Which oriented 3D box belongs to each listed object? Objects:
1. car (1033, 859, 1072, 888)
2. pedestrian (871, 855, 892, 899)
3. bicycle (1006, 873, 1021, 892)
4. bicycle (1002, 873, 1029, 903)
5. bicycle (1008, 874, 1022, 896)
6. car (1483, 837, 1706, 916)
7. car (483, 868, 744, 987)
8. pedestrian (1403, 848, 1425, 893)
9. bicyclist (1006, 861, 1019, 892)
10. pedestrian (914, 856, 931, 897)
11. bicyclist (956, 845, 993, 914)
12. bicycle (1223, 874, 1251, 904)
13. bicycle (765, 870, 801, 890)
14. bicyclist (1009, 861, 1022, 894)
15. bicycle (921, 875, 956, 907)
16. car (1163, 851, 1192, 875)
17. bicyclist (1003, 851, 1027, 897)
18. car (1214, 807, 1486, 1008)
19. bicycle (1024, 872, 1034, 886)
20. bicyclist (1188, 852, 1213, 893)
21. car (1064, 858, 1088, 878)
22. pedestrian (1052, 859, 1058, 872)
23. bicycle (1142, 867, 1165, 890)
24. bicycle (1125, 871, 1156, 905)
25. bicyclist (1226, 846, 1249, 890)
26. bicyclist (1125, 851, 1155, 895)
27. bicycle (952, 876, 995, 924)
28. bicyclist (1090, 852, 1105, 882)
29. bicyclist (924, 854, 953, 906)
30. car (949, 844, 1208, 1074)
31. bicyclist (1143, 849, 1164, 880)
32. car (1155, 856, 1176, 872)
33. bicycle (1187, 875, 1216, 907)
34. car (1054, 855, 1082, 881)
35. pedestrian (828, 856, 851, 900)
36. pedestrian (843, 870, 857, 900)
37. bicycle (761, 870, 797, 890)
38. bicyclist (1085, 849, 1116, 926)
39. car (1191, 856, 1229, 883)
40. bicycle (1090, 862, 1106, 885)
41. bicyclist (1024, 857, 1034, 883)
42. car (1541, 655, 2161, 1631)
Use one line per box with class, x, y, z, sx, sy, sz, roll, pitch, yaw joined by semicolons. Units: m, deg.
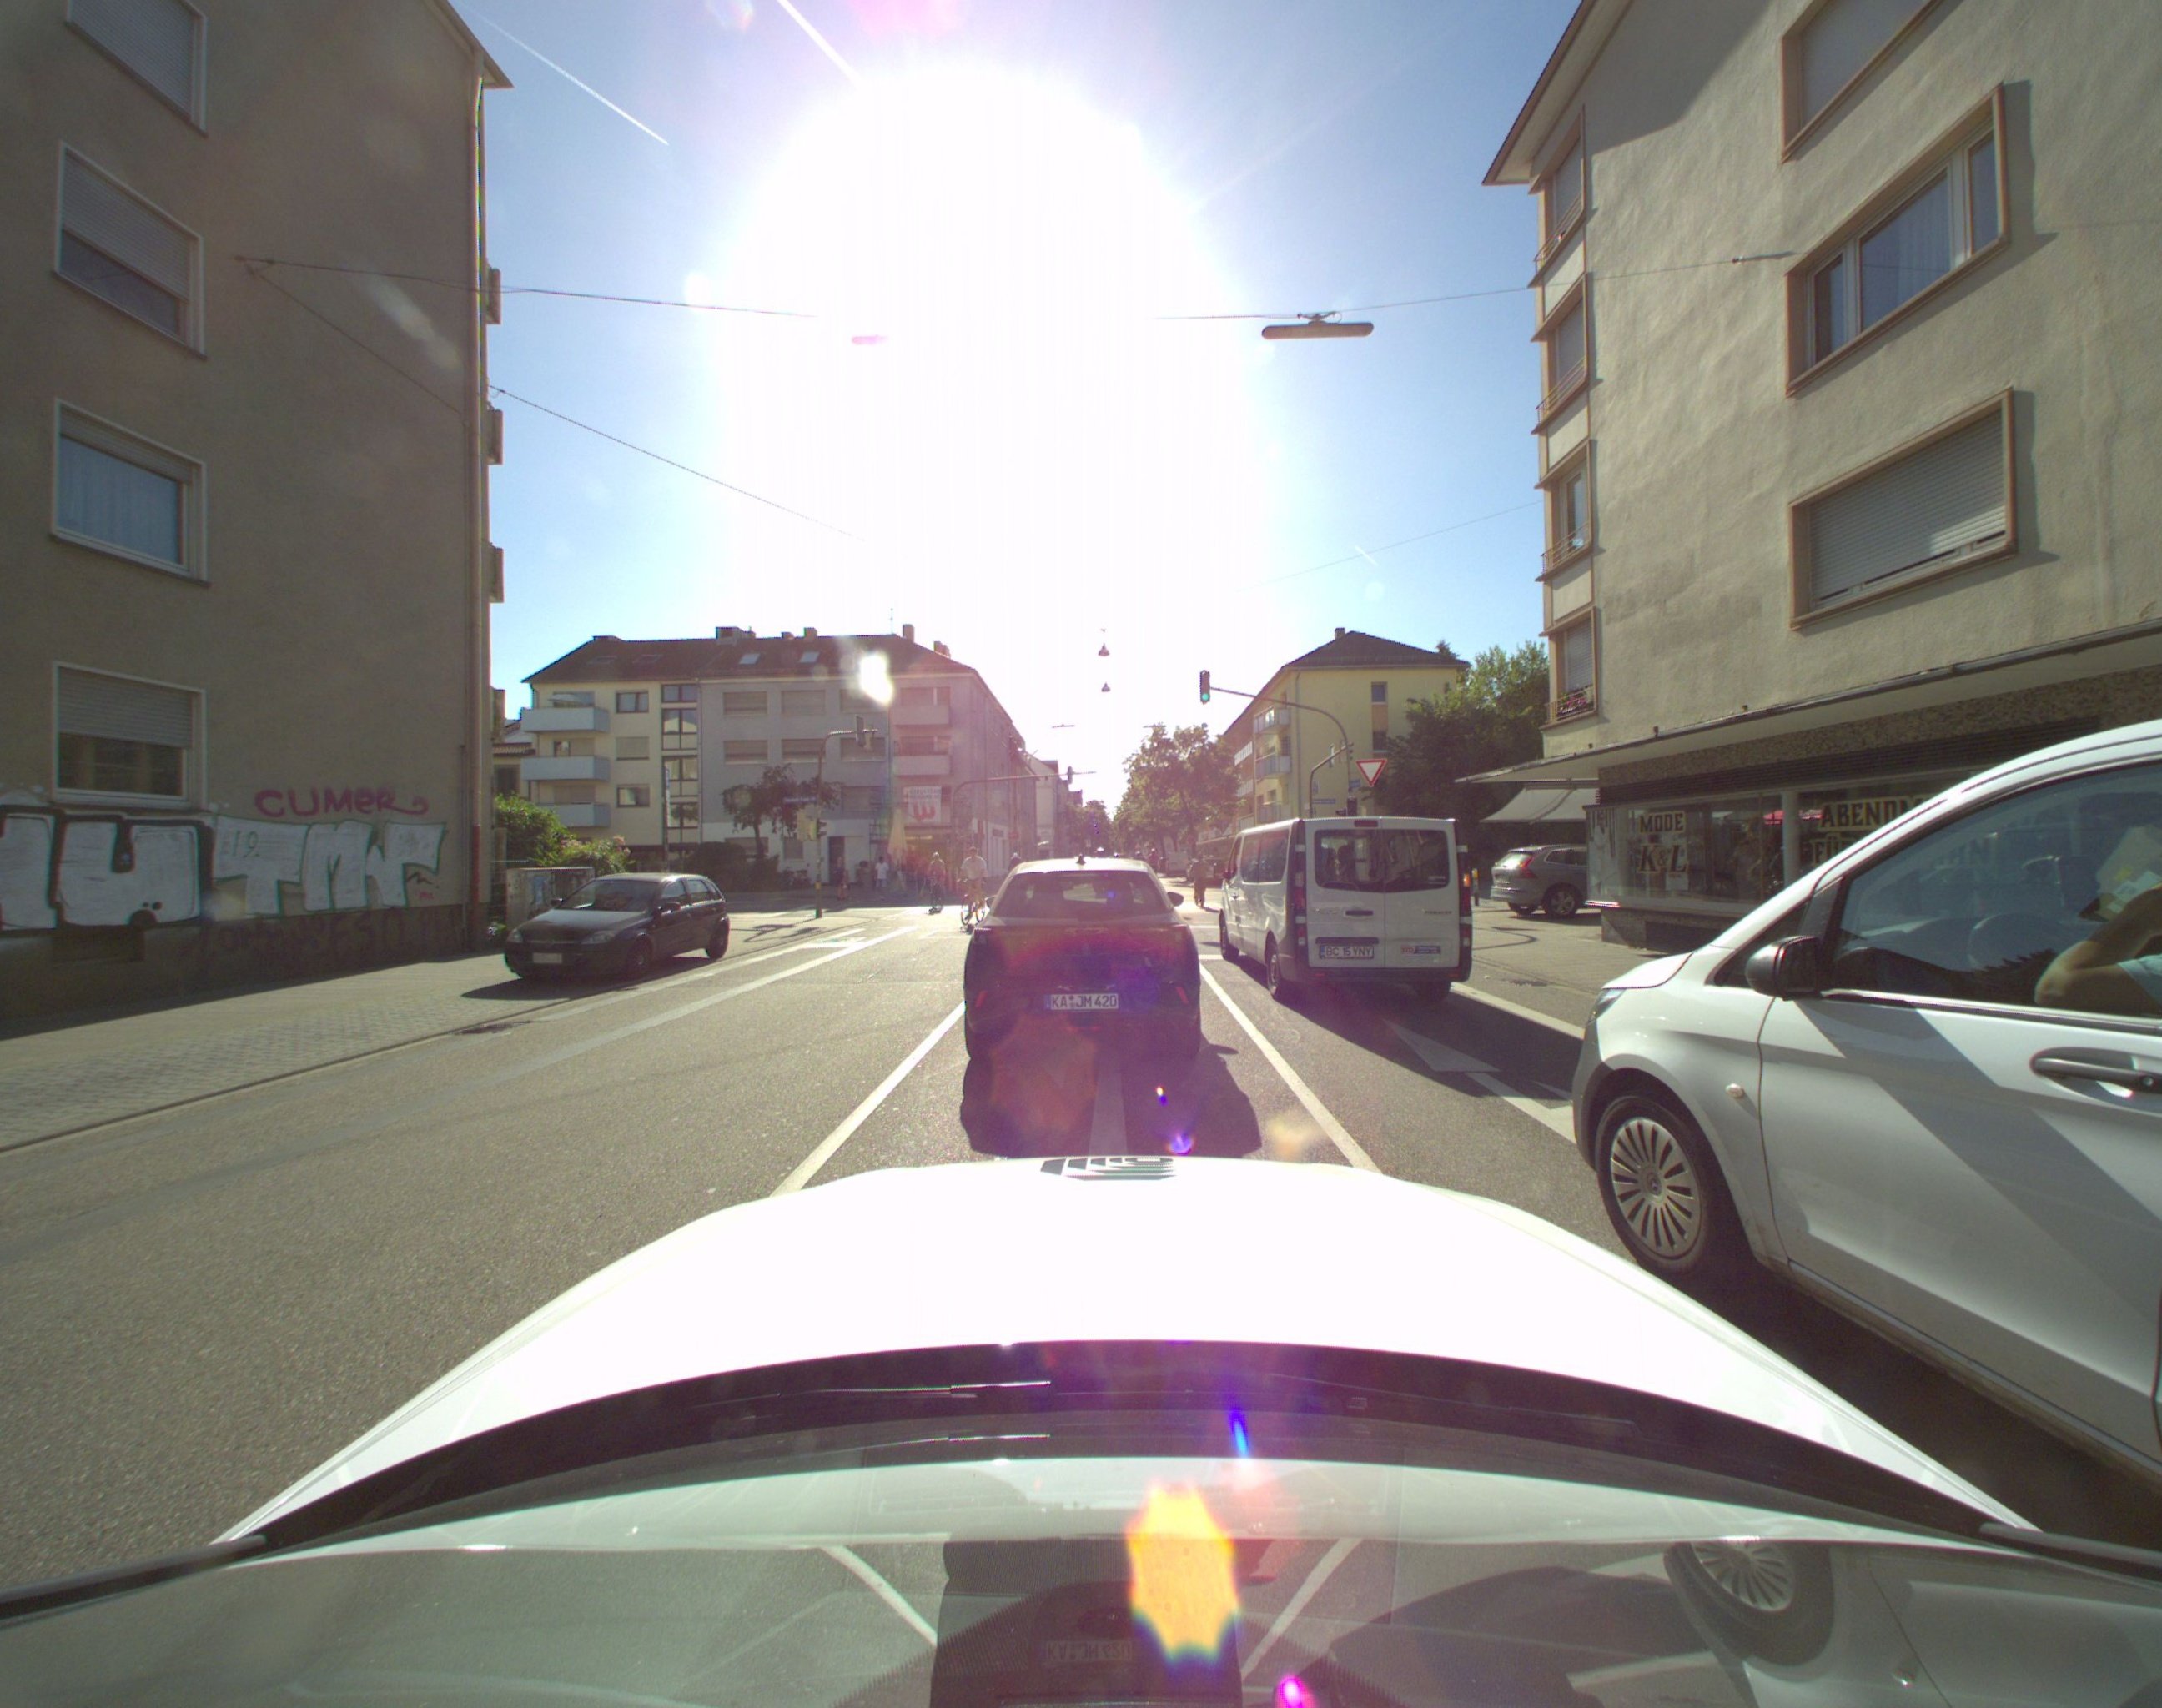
car;-1.529;1.045;44.681;1.830;1.433;4.178;-1;0;2
pedestrian;-7.711;0.889;31.487;0.571;1.689;0.670;-1;0;2
bicycle;-3.468;1.426;41.692;0.540;0.902;1.827;-1;0;2
bicycle;-2.301;1.176;28.875;0.677;0.952;1.934;-3;0;2
bicycle;-2.858;1.333;35.471;0.541;0.902;1.823;-1;0;-4
car;11.729;0.509;18.819;3.972;1.662;1.826;-1;0;2
car;-6.819;0.974;12.429;1.685;1.448;3.856;1;0;0
pedestrian;11.817;0.571;28.904;0.537;1.571;0.539;-1;0;1
bicyclist;-3.478;1.139;41.577;0.540;1.520;0.774;-1;0;2
pedestrian;-6.095;0.854;31.292;0.529;1.581;0.563;-1;-1;1
bicyclist;-2.599;0.605;19.908;0.714;1.620;0.946;-2;-1;2
bicycle;5.025;1.109;26.306;0.617;0.866;1.878;-1;0;3
bicycle;-14.985;1.312;40.944;1.582;0.940;0.513;-1;0;3
bicyclist;-2.852;1.001;35.364;0.541;1.391;0.787;-1;0;-4
bicycle;-4.611;1.185;26.506;0.677;0.952;1.934;-3;0;2
car;7.674;0.712;65.055;2.037;1.846;4.588;-1;0;3
bicyclist;-2.315;0.701;28.823;0.677;1.576;0.899;-3;0;2
car;3.018;0.538;10.419;1.961;1.940;5.057;0;-1;2
bicycle;-3.190;1.509;49.884;0.552;0.833;2.129;0;0;-3
bicyclist;3.590;0.557;24.478;0.689;1.193;0.595;-1;0;3
car;-0.390;1.100;63.775;1.799;1.413;4.425;-3;0;0
pedestrian;-3.010;1.334;94.156;0.575;1.583;0.707;-1;0;-4
bicycle;3.243;1.097;36.630;0.853;0.945;2.308;1;0;2
bicycle;1.835;1.027;25.382;0.853;0.945;2.308;1;0;2
bicyclist;5.023;0.453;26.131;0.586;1.382;0.823;-1;0;3
bicyclist;1.833;0.572;25.358;0.853;1.314;1.211;1;0;1
bicycle;-2.593;1.085;19.885;0.714;1.064;1.873;-2;-1;2
bicyclist;0.963;0.738;46.488;0.798;1.649;1.126;-1;0;3
bicyclist;-4.623;0.829;26.523;0.677;1.630;0.899;-3;0;2
car;0.042;0.741;7.620;1.756;1.558;4.001;-1;-1;2
bicyclist;3.255;0.462;36.550;0.853;1.314;1.211;1;0;1
car;8.007;0.915;77.405;1.706;1.483;3.383;-1;0;2
bicycle;3.601;1.100;24.441;0.688;0.866;1.878;-1;0;3
car;-0.815;0.927;52.996;1.586;1.566;4.091;-2;-1;2
pedestrian;-9.557;0.945;32.251;0.571;1.683;0.968;-1;0;0
pedestrian;-9.047;1.200;31.909;0.384;1.146;0.532;-1;0;2
bicycle;-14.964;1.305;40.373;1.582;0.940;0.513;-1;0;3
bicyclist;0.446;0.728;18.347;0.630;1.669;1.051;-2;0;2
car;7.318;0.864;46.416;1.706;1.483;3.482;-1;0;2
bicycle;0.971;1.117;46.496;0.798;1.255;2.140;-1;0;3
bicyclist;-3.199;0.970;50.167;0.552;1.549;0.814;0;-1;-3
car;2.969;0.519;1.128;1.961;1.810;4.833;-1;-1;1
